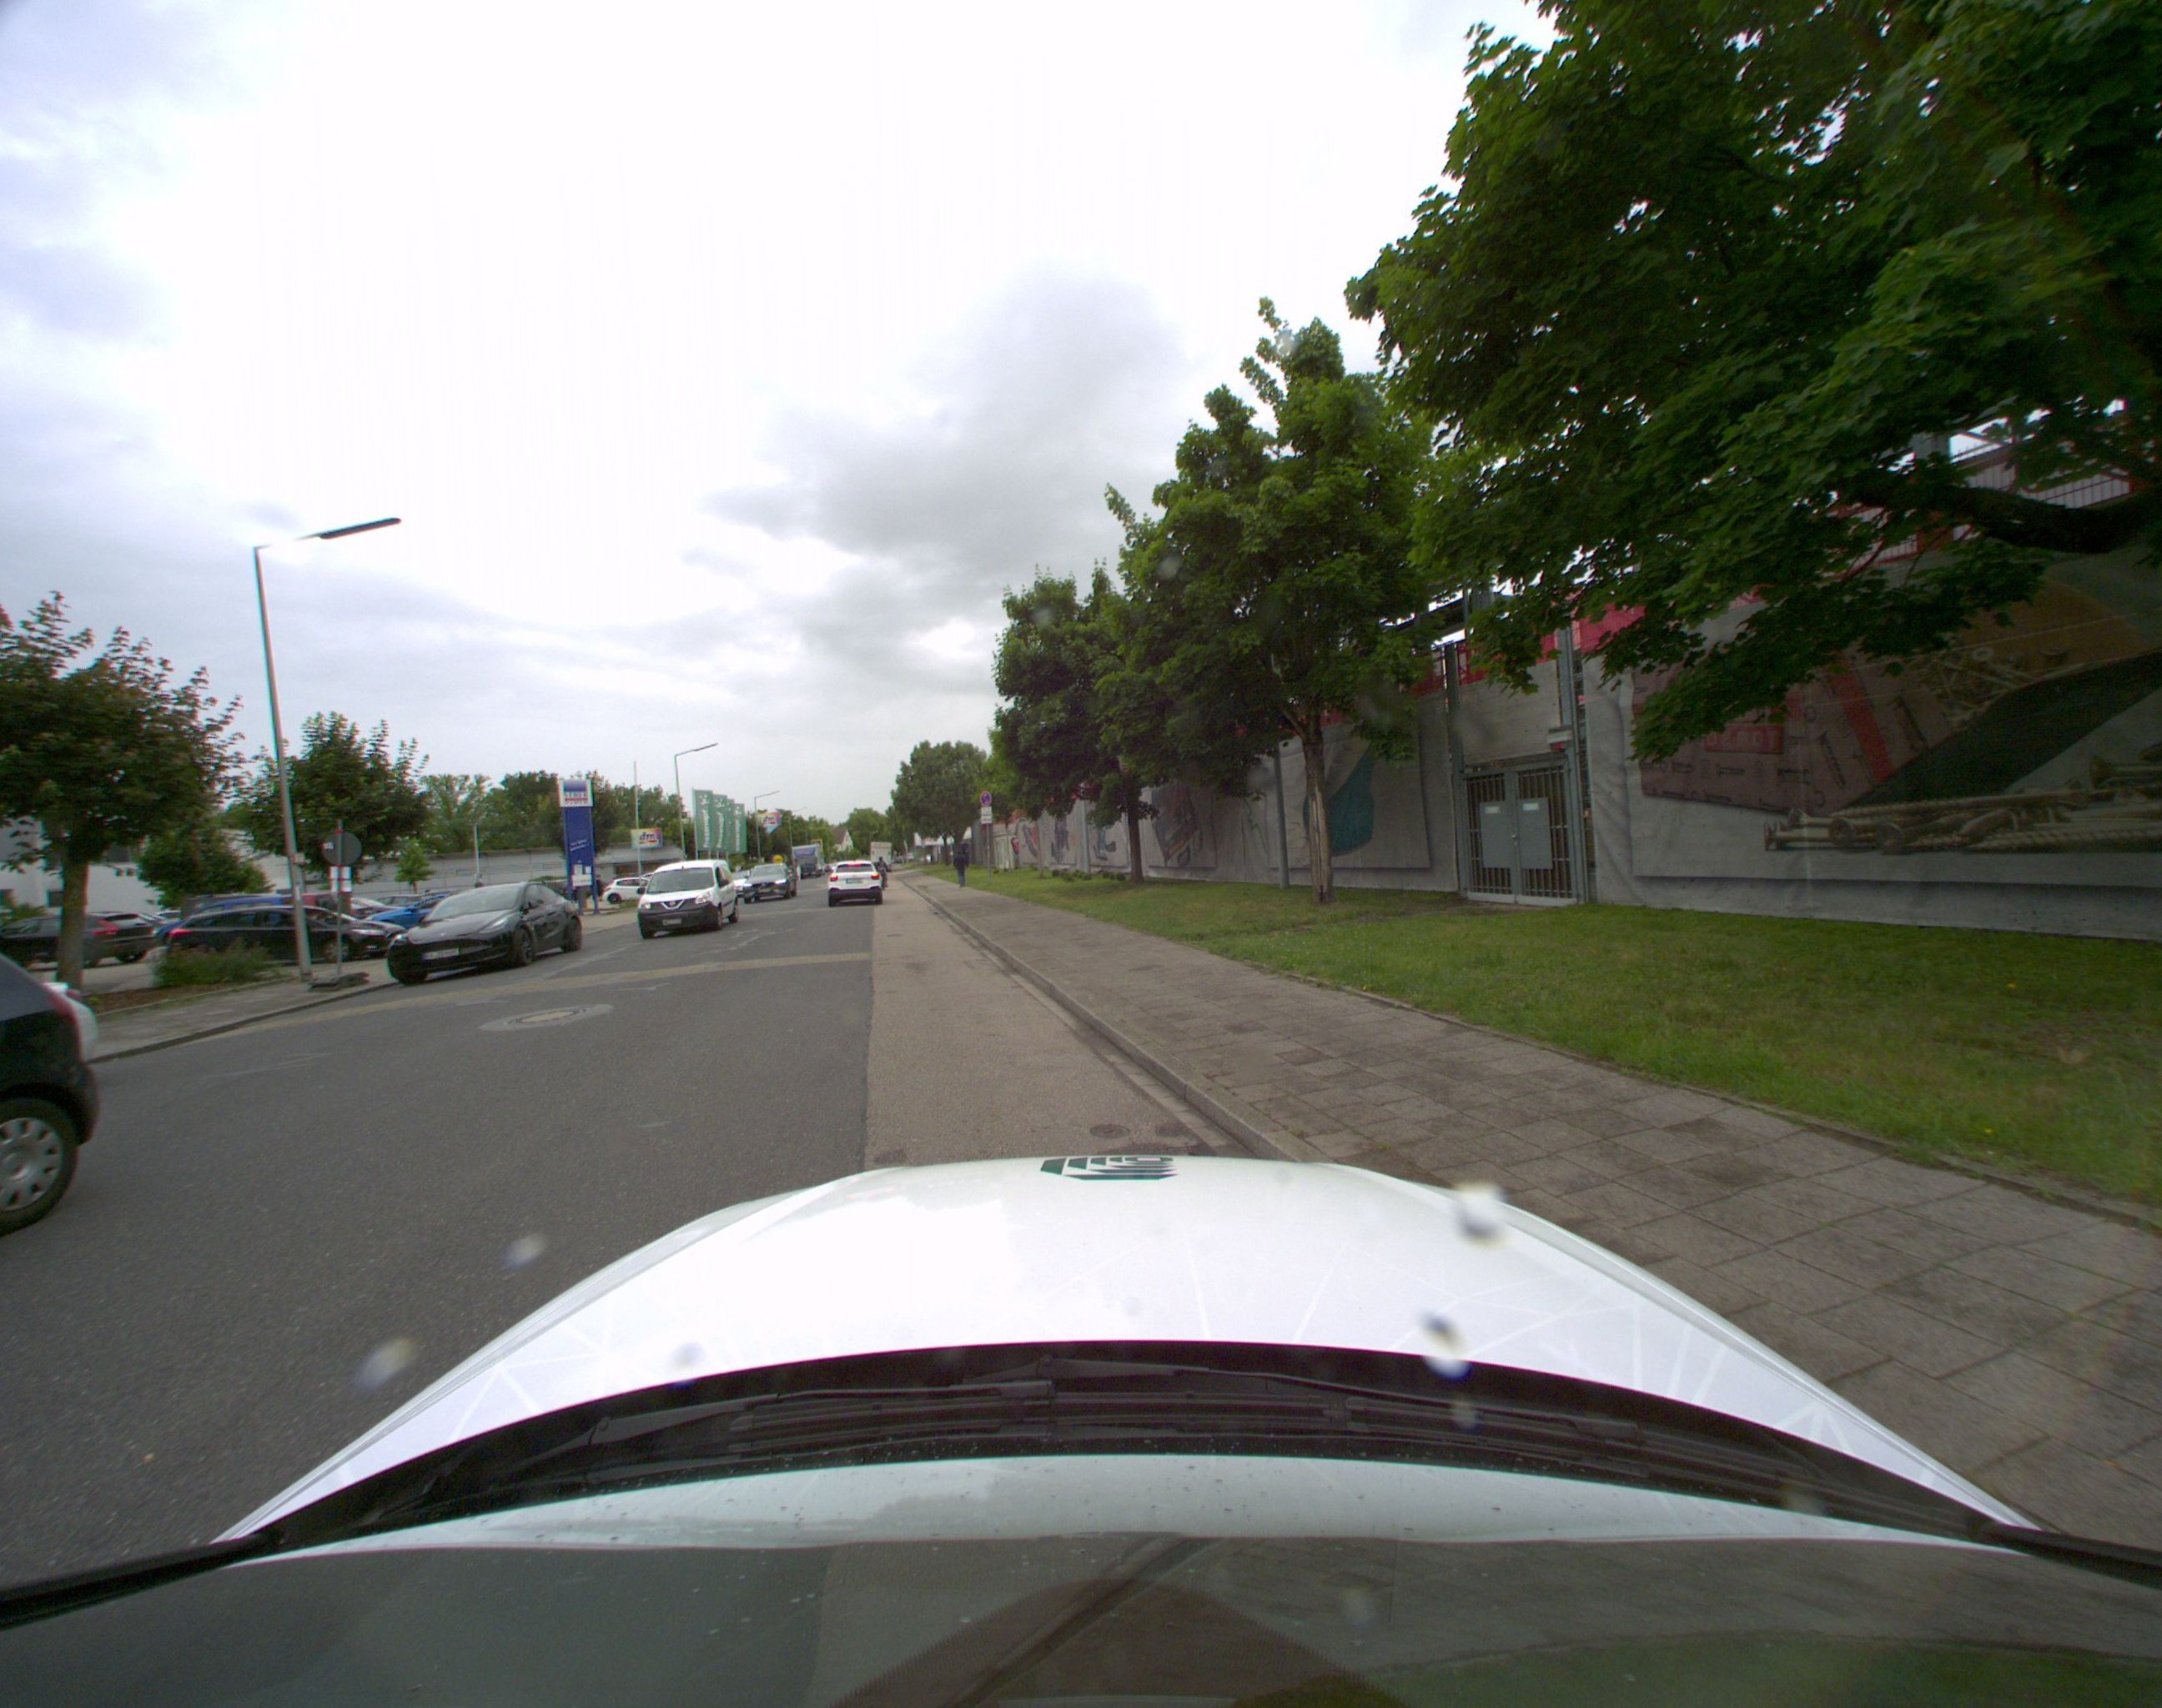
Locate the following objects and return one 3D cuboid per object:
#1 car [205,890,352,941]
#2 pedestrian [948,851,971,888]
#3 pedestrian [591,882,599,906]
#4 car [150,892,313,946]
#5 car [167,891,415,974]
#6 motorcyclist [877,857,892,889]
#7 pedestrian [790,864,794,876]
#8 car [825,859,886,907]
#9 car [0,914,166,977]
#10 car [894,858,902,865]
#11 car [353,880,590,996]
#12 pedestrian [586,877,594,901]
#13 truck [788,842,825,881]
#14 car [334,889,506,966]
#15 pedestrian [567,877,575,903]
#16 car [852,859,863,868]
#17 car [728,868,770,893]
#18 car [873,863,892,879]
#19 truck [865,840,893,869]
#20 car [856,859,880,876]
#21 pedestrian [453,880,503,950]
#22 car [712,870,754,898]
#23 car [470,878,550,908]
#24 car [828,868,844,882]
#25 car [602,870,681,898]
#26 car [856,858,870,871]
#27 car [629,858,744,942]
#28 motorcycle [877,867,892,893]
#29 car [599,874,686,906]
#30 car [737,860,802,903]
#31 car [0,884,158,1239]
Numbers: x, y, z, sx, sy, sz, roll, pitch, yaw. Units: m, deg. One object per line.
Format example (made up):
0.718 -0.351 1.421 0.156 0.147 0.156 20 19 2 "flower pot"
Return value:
-34.485 2.609 35.110 3.994 1.669 1.867 -4 1 -15 "car"
-5.559 0.710 37.103 0.920 1.635 0.849 -3 -1 -13 "pedestrian"
-32.756 2.713 54.875 0.332 1.570 0.499 -4 0 -28 "pedestrian"
-33.868 2.564 32.605 3.994 1.669 1.867 -4 1 -15 "car"
-19.350 1.875 20.166 3.880 1.620 1.918 -3 0 -14 "car"
-9.901 0.949 41.023 0.625 1.554 0.601 -4 0 -13 "motorcyclist"
-37.285 2.096 104.985 0.403 1.531 0.482 -4 0 -21 "pedestrian"
-7.922 0.963 28.916 1.889 1.531 4.234 -2 0 -14 "car"
-31.211 2.801 24.767 4.007 1.485 1.861 -5 1 -25 "car"
-44.911 1.881 199.842 1.889 1.683 4.234 -2 0 -14 "car"
-11.386 1.441 15.679 1.951 1.526 4.380 -8 2 -15 "car"
-32.660 2.324 54.160 0.361 1.570 0.499 -4 0 -28 "pedestrian"
-30.619 0.781 91.096 2.978 3.955 6.374 -5 1 -14 "truck"
-21.784 2.370 27.043 3.945 2.013 1.748 -4 0 -22 "car"
-33.940 2.384 54.205 0.264 1.729 0.419 -4 0 -27 "pedestrian"
-45.023 1.909 163.946 1.998 1.684 3.978 -3 0 -16 "car"
-21.689 1.702 53.344 1.901 1.367 3.981 -4 1 -14 "car"
-24.008 2.044 98.413 1.997 1.806 3.978 -3 0 -16 "car"
-26.684 0.144 107.197 3.141 3.584 9.996 -3 0 -15 "truck"
-19.406 1.198 74.246 1.941 1.367 3.980 -5 1 -15 "car"
-15.536 1.553 21.014 0.777 1.715 0.692 -3 0 -19 "pedestrian"
-20.052 1.701 47.013 1.905 1.367 3.972 -5 1 -20 "car"
-39.011 2.627 55.743 3.994 1.669 1.867 -4 1 -15 "car"
-31.369 2.687 104.311 1.601 1.528 3.511 -6 0 -14 "car"
-28.119 1.899 52.237 4.150 1.463 1.886 -4 1 -20 "car"
-32.347 1.521 120.821 1.874 1.661 3.978 -5 1 -16 "car"
-9.941 1.059 20.855 1.692 1.760 4.114 -6 1 -14 "car"
-9.898 1.297 41.069 0.641 1.178 2.104 -4 1 -12 "motorcycle"
-25.698 2.079 47.910 4.221 1.463 1.938 -5 1 -22 "car"
-14.043 1.182 36.970 1.935 1.683 4.476 -5 1 -12 "car"
-5.468 1.014 2.305 1.732 1.571 3.927 -5 1 -14 "car"
